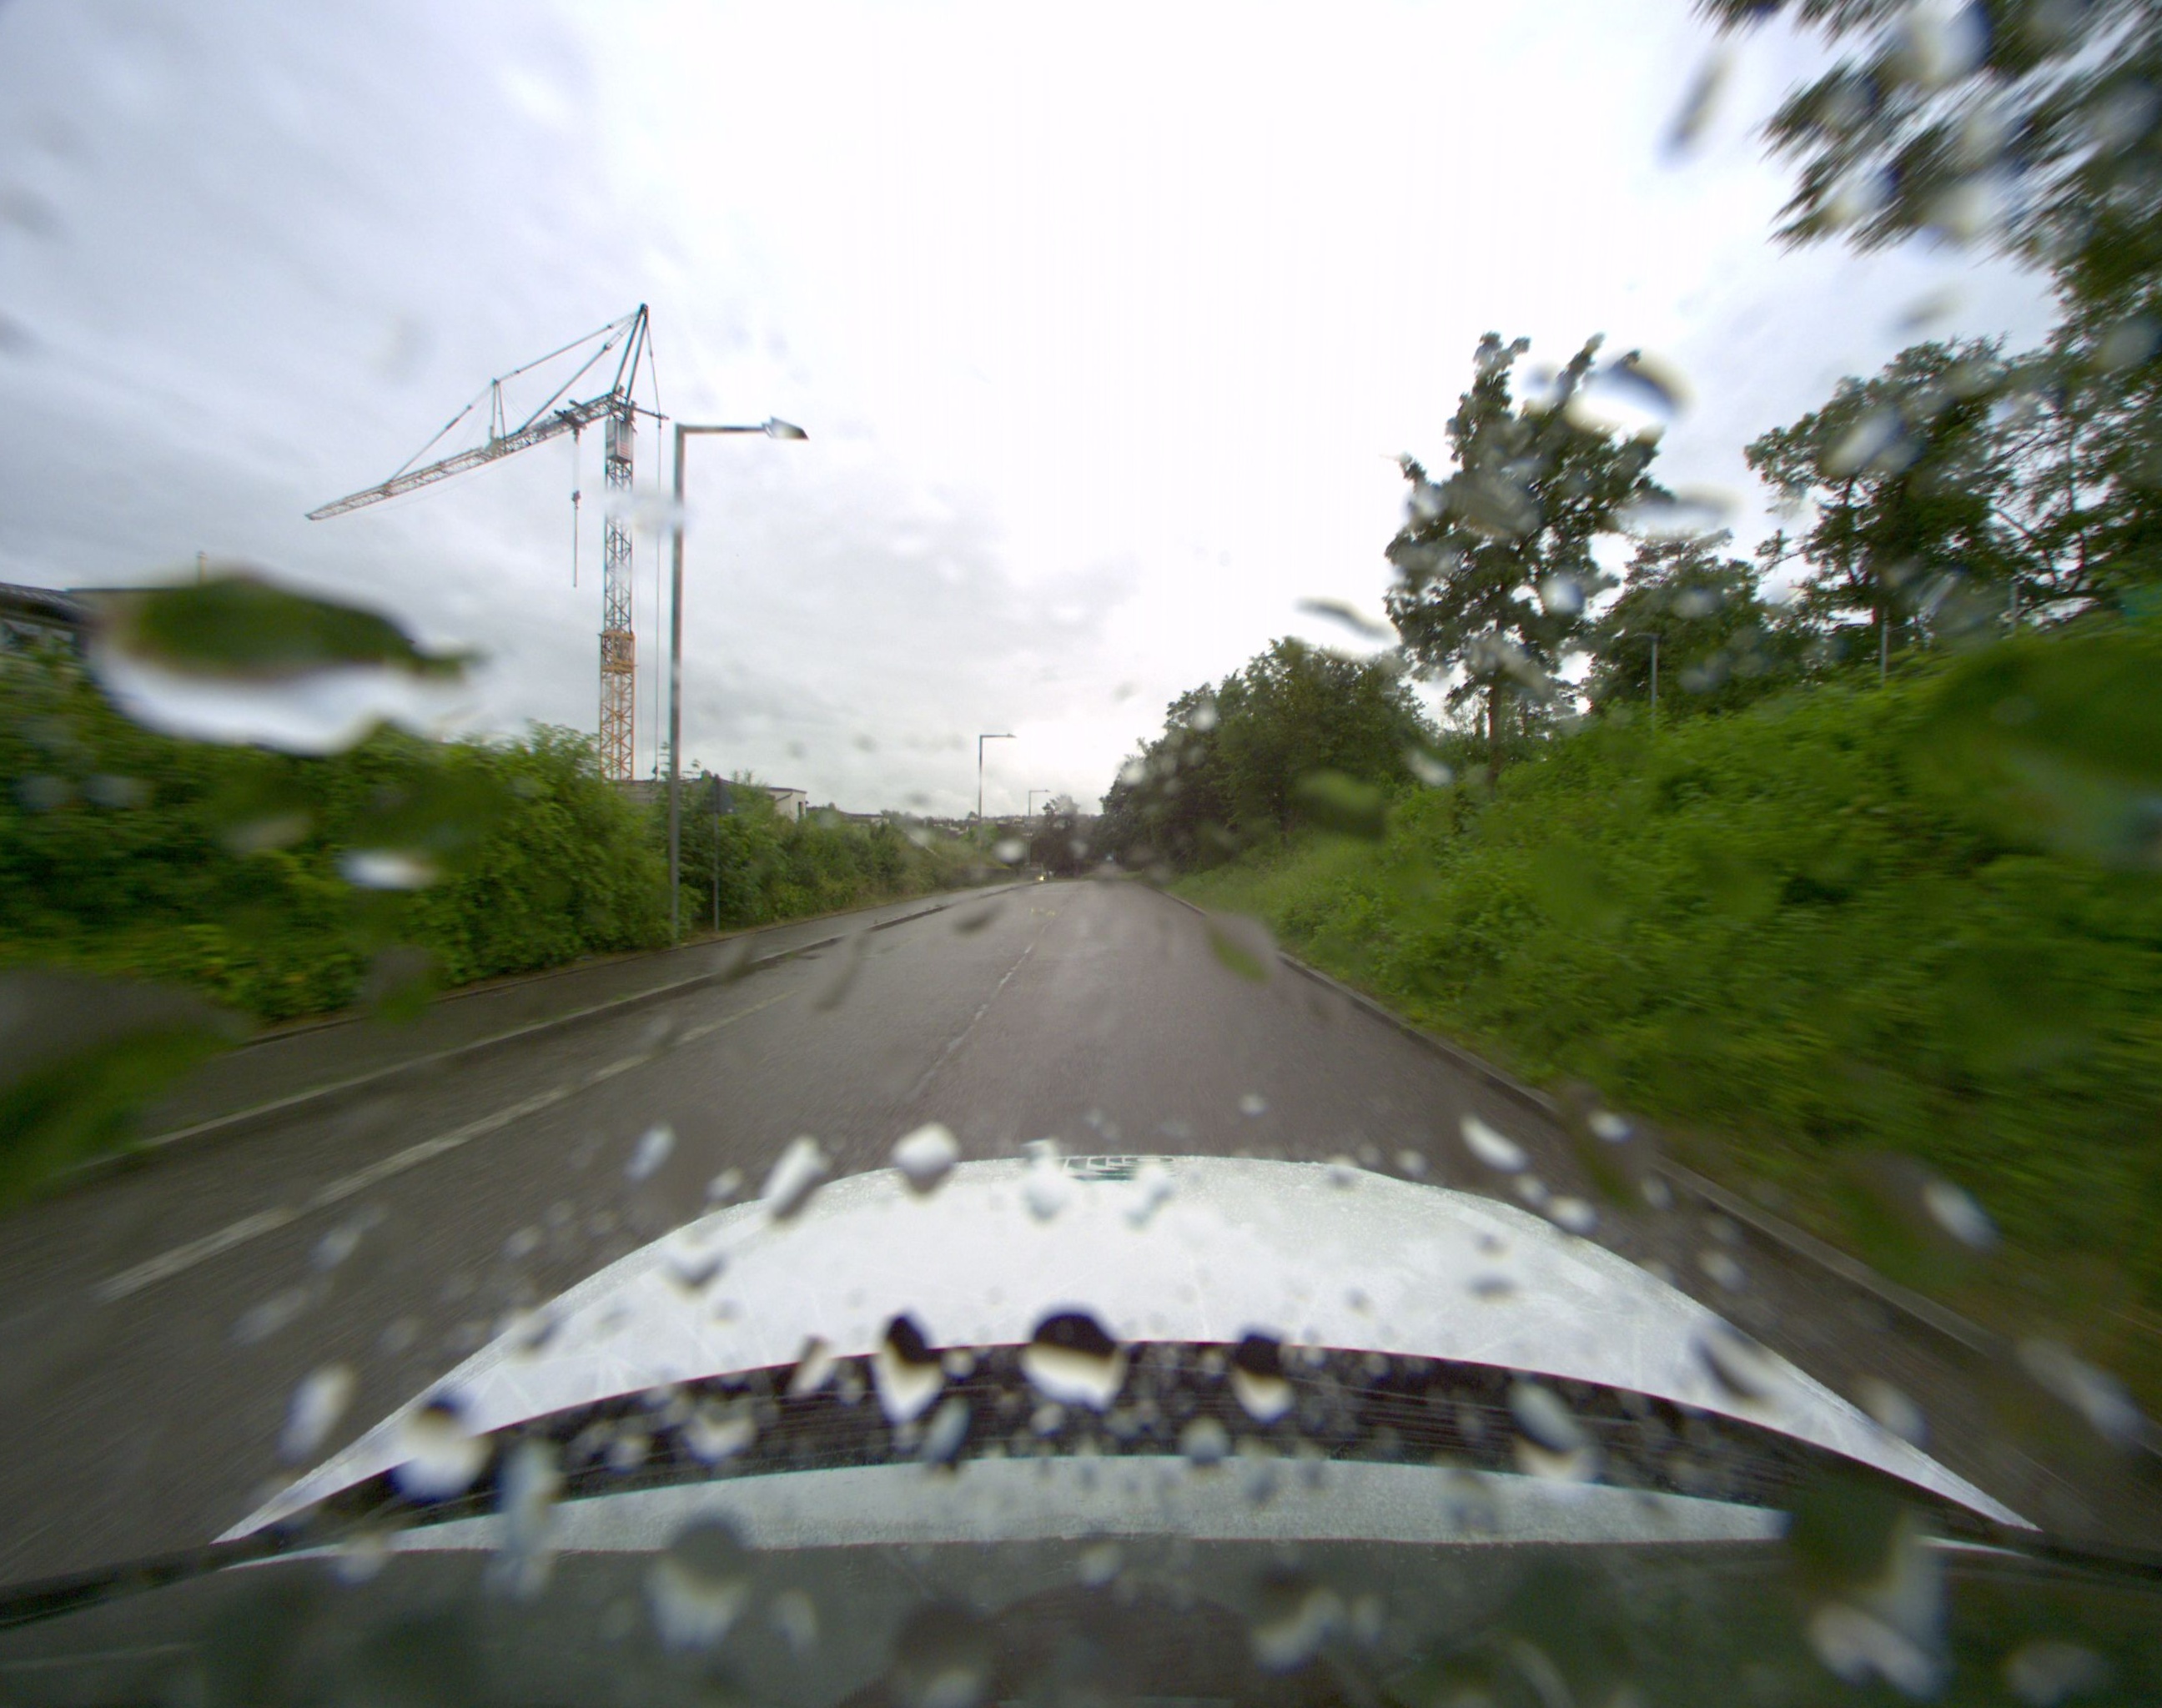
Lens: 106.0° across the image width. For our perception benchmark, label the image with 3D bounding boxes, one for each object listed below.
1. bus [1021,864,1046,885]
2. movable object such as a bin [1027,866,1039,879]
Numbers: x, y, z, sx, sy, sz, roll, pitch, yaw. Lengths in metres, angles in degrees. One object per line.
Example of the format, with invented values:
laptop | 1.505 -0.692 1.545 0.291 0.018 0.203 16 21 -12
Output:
bus | -7.333 3.153 124.502 2.639 3.068 10.818 -1 -2 -9
movable object such as a bin | -5.487 2.104 92.930 1.130 1.339 1.394 3 -2 -8
